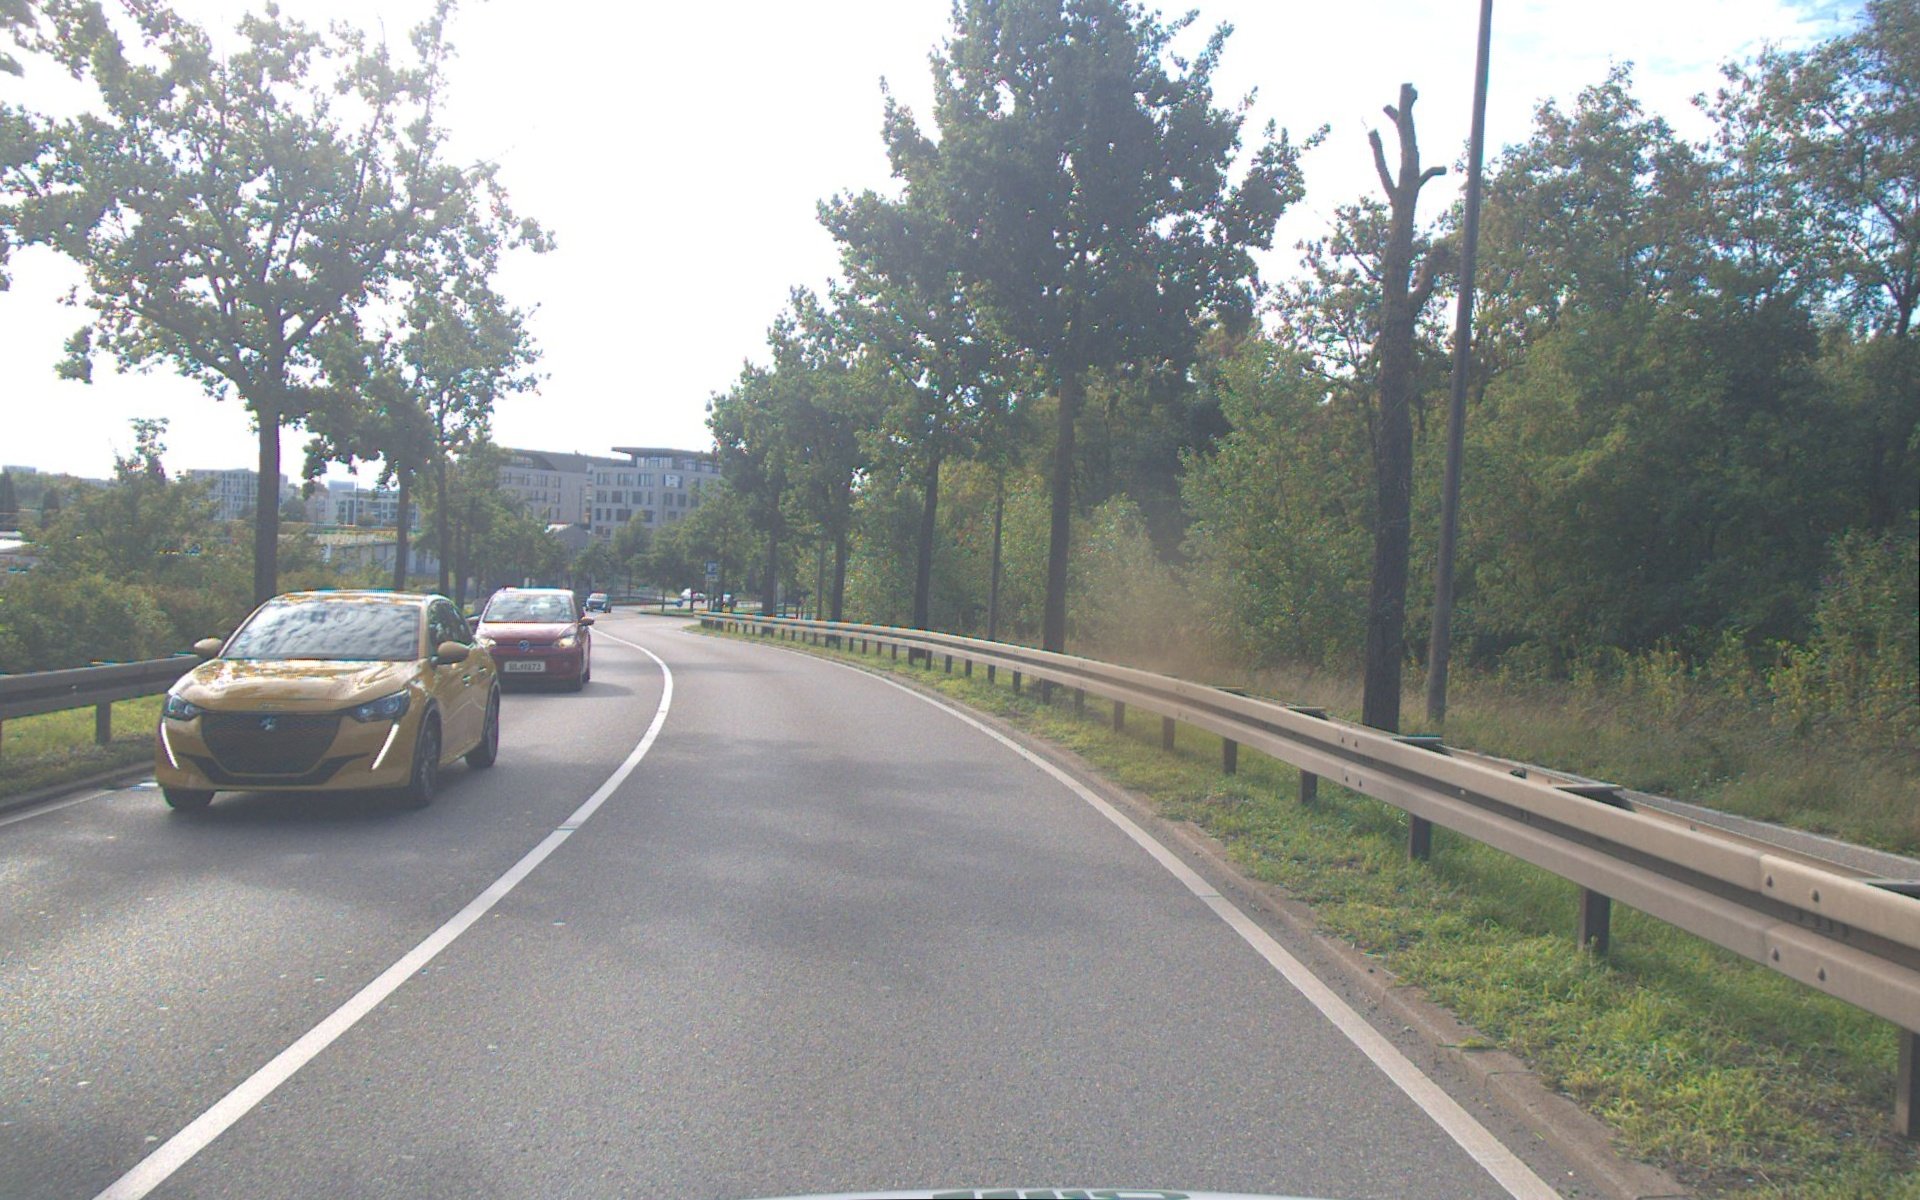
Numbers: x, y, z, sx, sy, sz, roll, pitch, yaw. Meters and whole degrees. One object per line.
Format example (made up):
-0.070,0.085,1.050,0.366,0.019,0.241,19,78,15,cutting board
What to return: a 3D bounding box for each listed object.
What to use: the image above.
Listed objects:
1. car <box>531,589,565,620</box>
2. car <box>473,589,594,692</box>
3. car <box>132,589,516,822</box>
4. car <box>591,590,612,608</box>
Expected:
-20.423,0.204,82.023,1.540,1.450,3.579,1,0,-12,car
-6.413,0.565,25.153,1.539,1.450,3.581,1,0,-11,car
-4.502,0.653,12.319,1.765,1.450,3.866,1,0,-7,car
-30.046,-0.101,138.541,1.539,1.450,3.582,1,0,-10,car
